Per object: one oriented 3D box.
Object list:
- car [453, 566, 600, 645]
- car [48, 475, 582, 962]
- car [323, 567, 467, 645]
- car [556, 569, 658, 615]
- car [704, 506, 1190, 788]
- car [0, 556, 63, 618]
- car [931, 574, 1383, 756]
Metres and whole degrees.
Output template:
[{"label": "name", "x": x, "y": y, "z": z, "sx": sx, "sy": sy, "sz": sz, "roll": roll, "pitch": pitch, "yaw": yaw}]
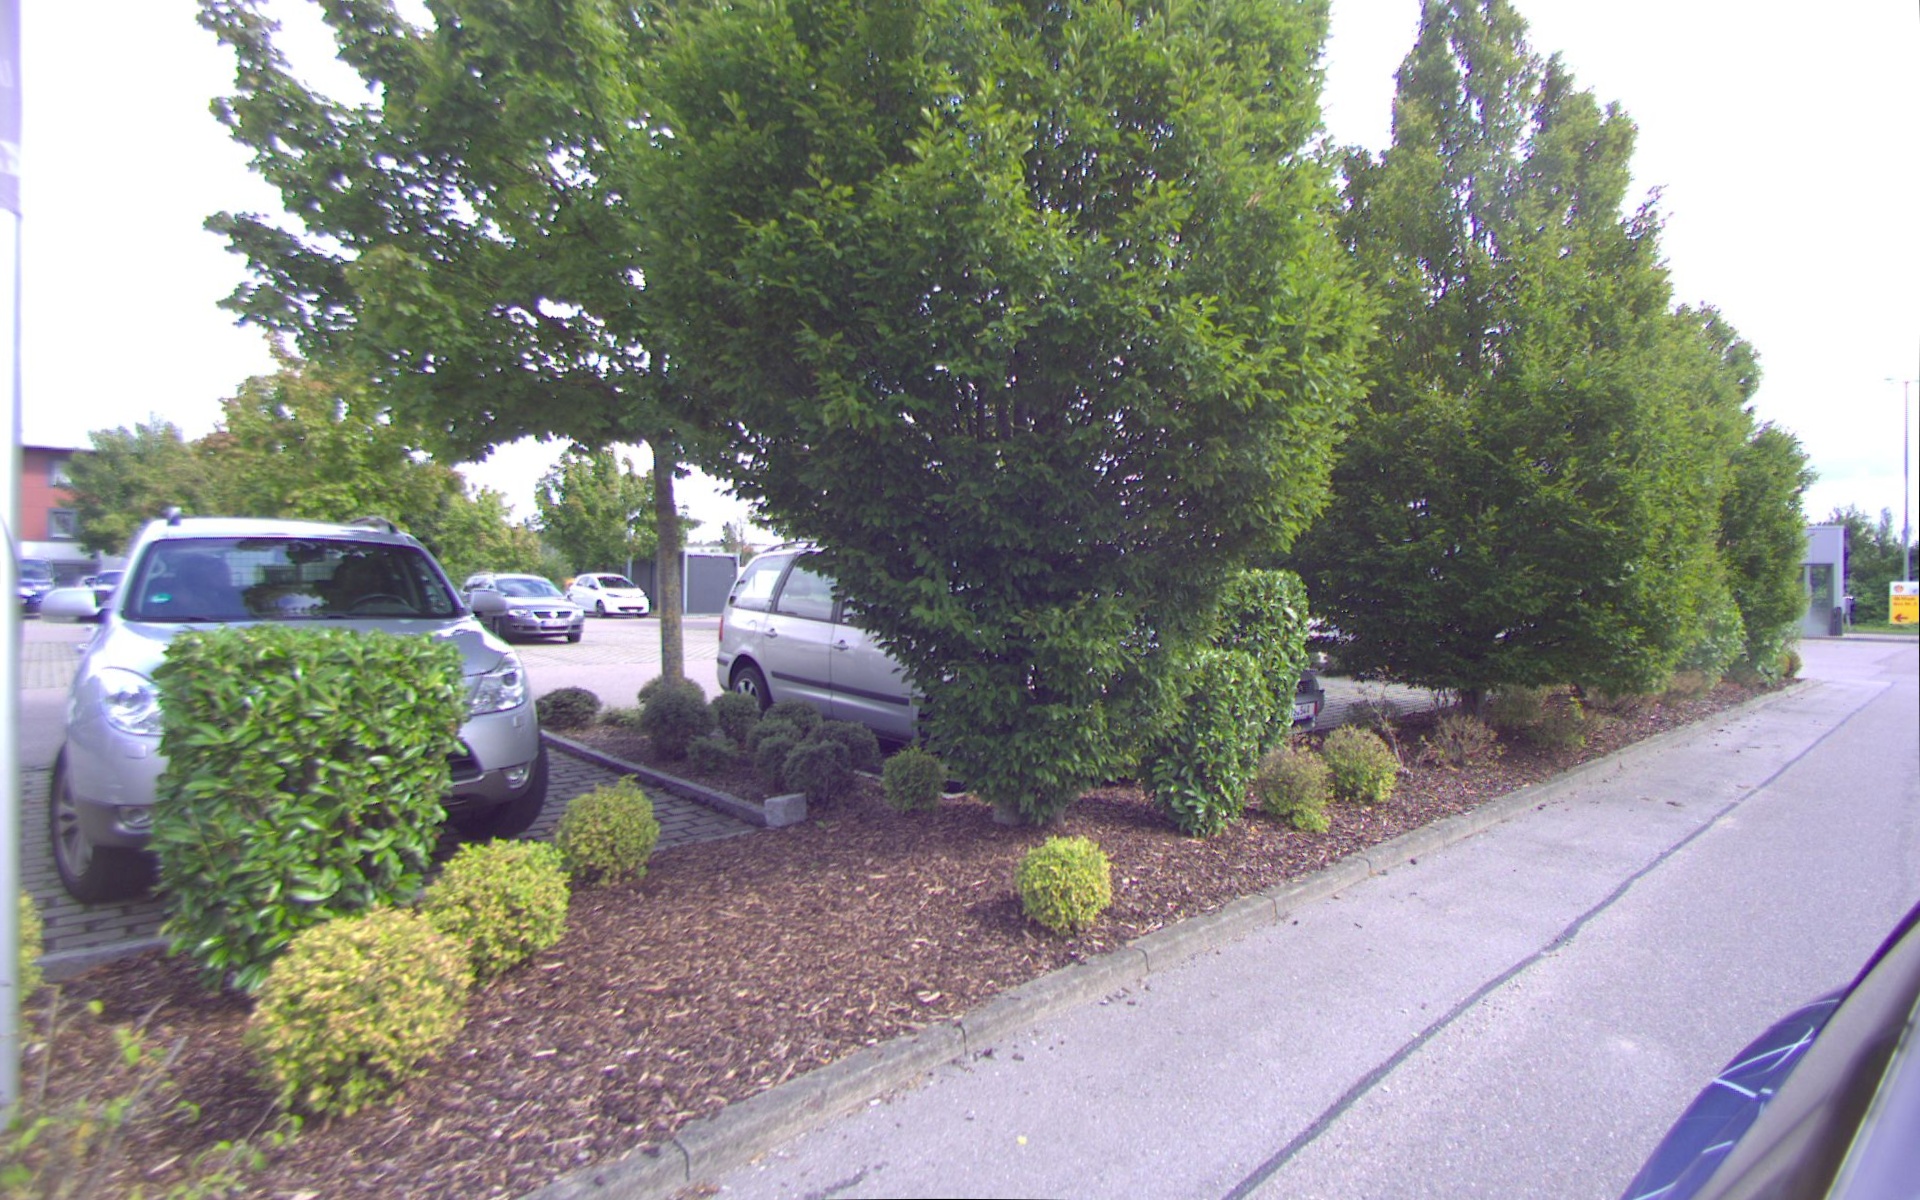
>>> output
[{"label": "car", "x": -9.680, "y": 0.111, "z": 22.441, "sx": 1.964, "sy": 1.591, "sz": 3.995, "roll": 1, "pitch": 0, "yaw": -39}, {"label": "car", "x": -4.039, "y": 0.338, "z": 5.956, "sx": 1.886, "sy": 1.717, "sz": 4.673, "roll": 0, "pitch": 2, "yaw": -41}, {"label": "car", "x": -11.873, "y": 0.099, "z": 21.140, "sx": 1.692, "sy": 1.446, "sz": 4.267, "roll": 1, "pitch": 0, "yaw": -43}, {"label": "car", "x": -12.667, "y": -0.270, "z": 36.208, "sx": 1.967, "sy": 1.549, "sz": 3.989, "roll": 1, "pitch": 0, "yaw": -44}, {"label": "car", "x": -0.369, "y": 0.277, "z": 8.434, "sx": 1.628, "sy": 1.738, "sz": 4.356, "roll": 1, "pitch": 0, "yaw": -41}, {"label": "car", "x": -27.064, "y": -0.365, "z": 28.960, "sx": 3.986, "sy": 1.677, "sz": 1.740, "roll": 1, "pitch": 0, "yaw": 44}, {"label": "car", "x": 1.688, "y": 0.475, "z": 9.636, "sx": 1.697, "sy": 1.367, "sz": 3.989, "roll": 1, "pitch": 0, "yaw": -44}]
